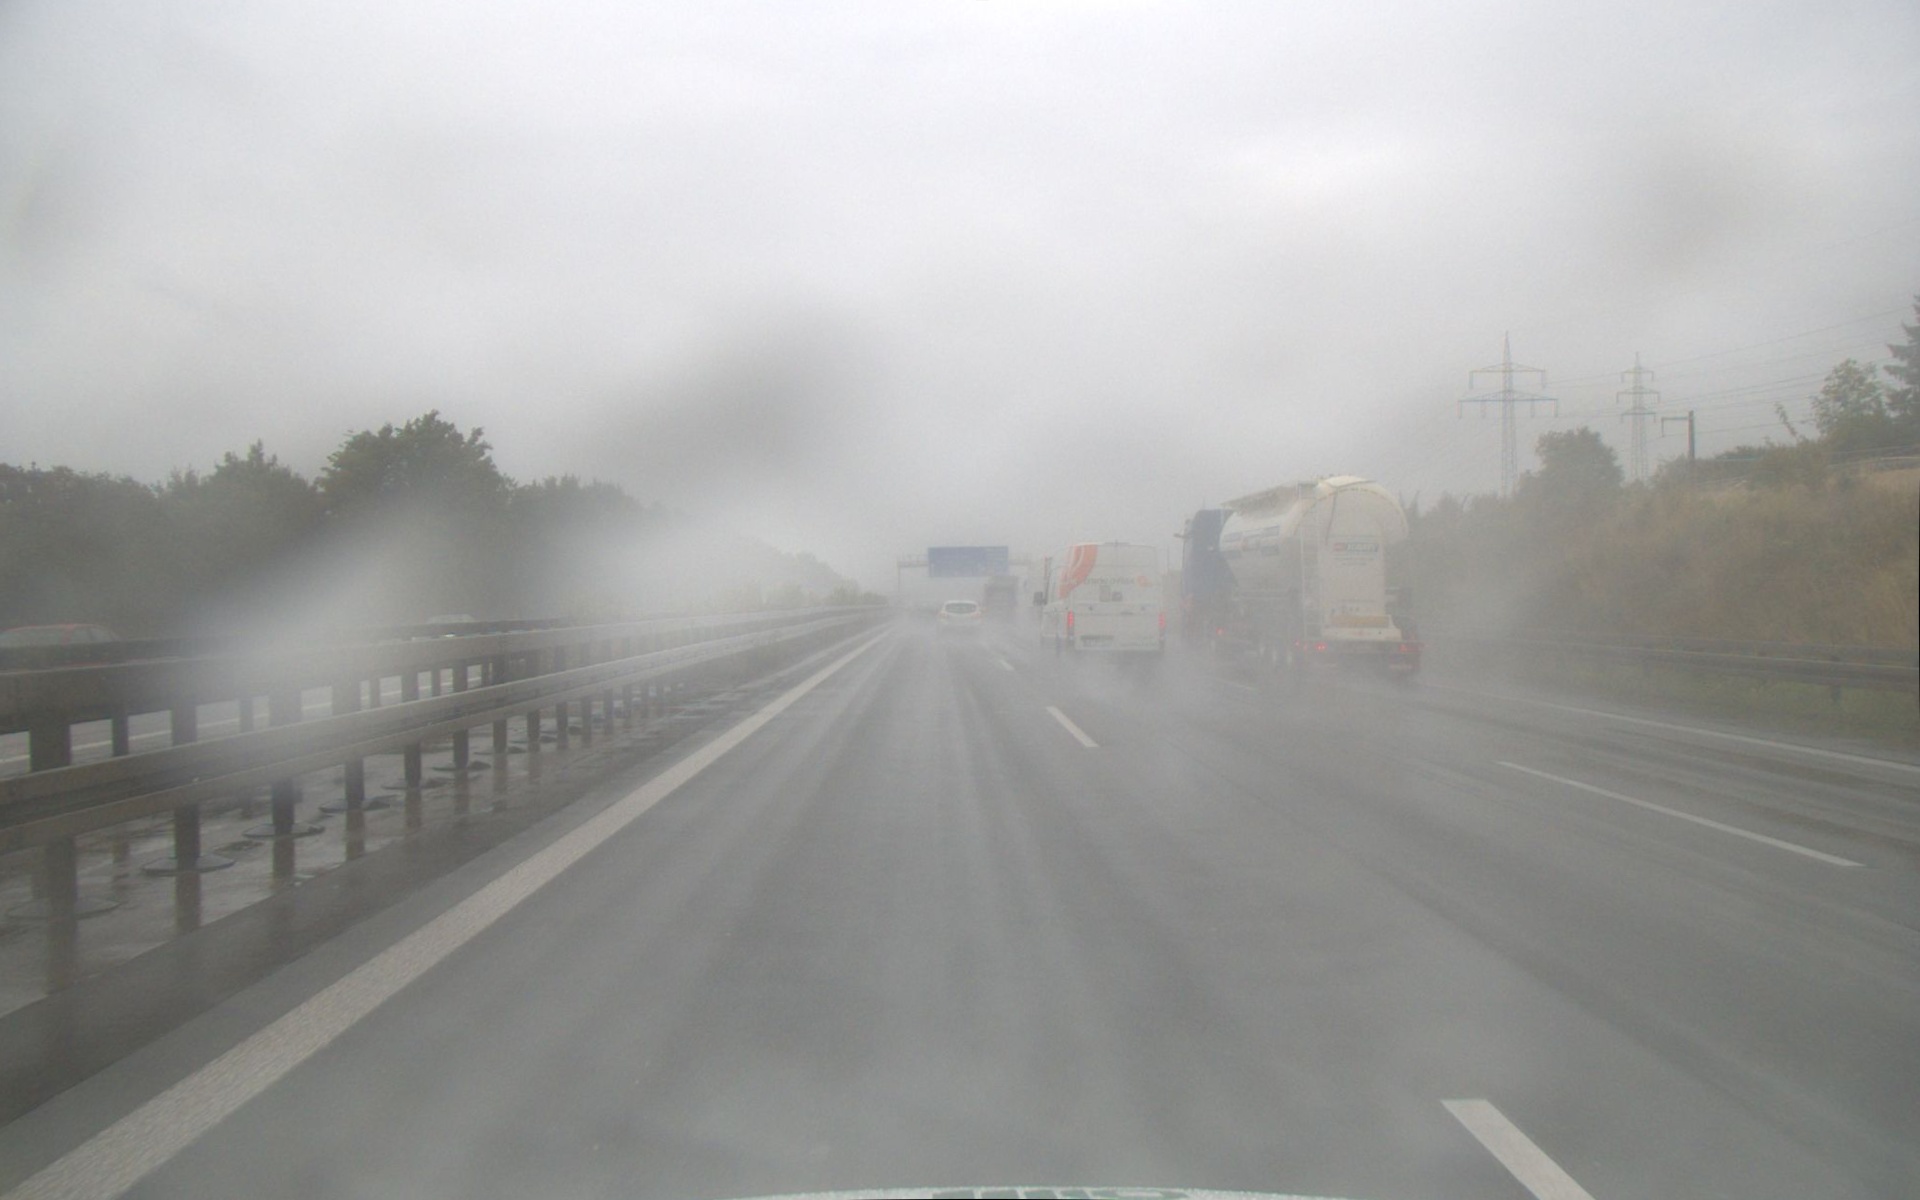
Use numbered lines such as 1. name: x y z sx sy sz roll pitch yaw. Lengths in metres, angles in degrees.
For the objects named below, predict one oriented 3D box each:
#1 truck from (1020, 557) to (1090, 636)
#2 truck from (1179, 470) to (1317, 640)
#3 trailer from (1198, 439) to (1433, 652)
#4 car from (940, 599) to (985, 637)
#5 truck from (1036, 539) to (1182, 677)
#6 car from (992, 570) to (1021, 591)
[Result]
1. truck: 5.968 -0.118 107.080 2.979 4.668 16.343 1 -1 -2
2. truck: 7.266 -1.097 42.341 2.446 4.053 5.074 1 0 -2
3. trailer: 7.474 -1.047 36.559 2.447 3.950 11.062 1 0 -2
4. car: 0.068 0.665 62.864 1.573 1.361 3.847 1 0 -1
5. truck: 2.909 0.143 33.623 2.370 2.536 5.559 1 0 -1
6. car: 4.679 -1.936 166.883 2.732 2.049 4.991 1 0 -1
